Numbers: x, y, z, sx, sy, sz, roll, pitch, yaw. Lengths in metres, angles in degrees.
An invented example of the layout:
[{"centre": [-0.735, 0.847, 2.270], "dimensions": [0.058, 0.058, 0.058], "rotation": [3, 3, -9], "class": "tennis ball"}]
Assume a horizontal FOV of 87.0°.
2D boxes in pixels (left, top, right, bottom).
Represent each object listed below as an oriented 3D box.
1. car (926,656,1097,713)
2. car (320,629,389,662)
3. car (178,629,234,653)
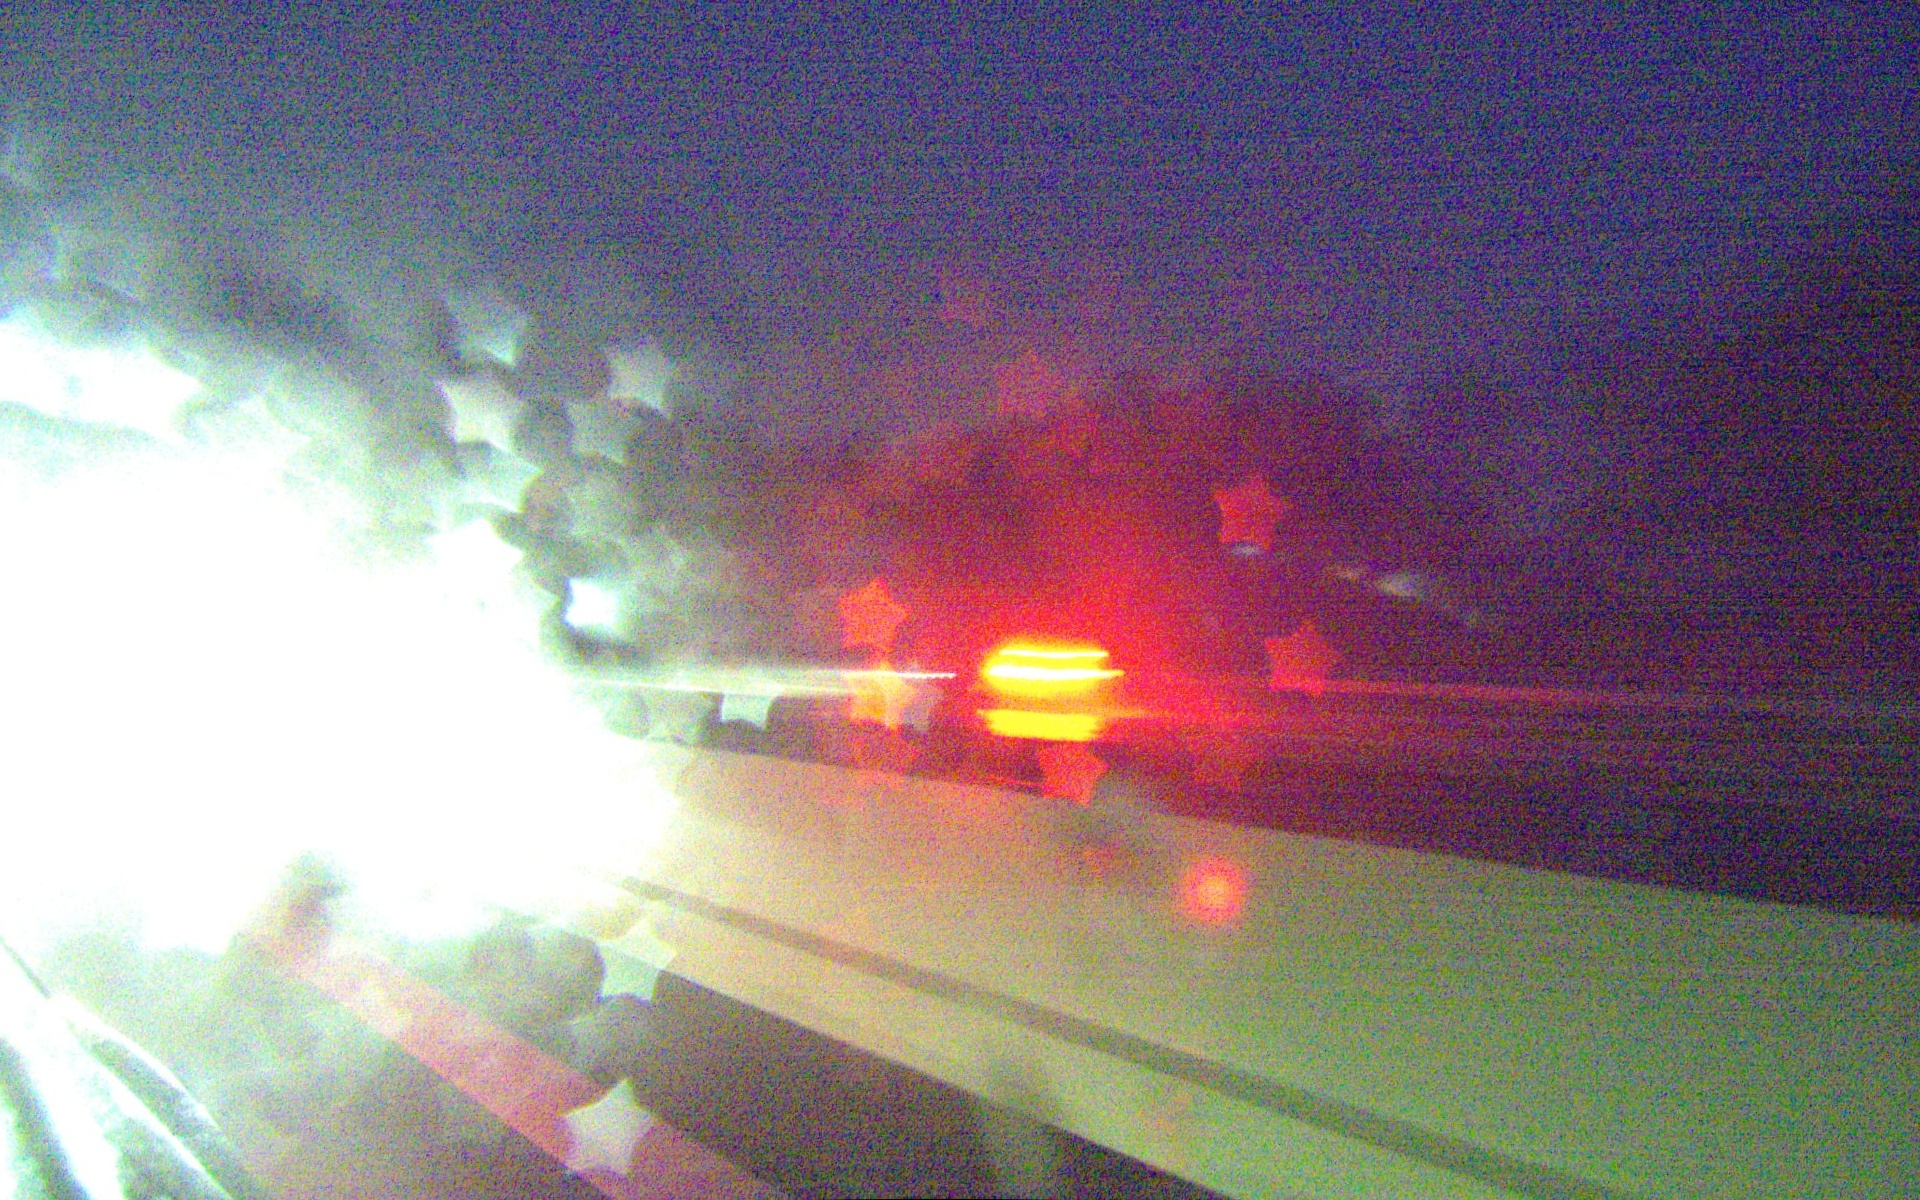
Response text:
[{"centre": [1.200, 2.016, 24.843], "dimensions": [4.043, 1.111, 1.621], "rotation": [-1, 0, 40], "class": "car"}, {"centre": [-33.529, 2.474, 55.987], "dimensions": [5.371, 1.595, 1.872], "rotation": [-1, 0, 43], "class": "car"}, {"centre": [-46.633, 2.526, 62.542], "dimensions": [4.349, 1.433, 1.764], "rotation": [-1, -3, 40], "class": "car"}]
